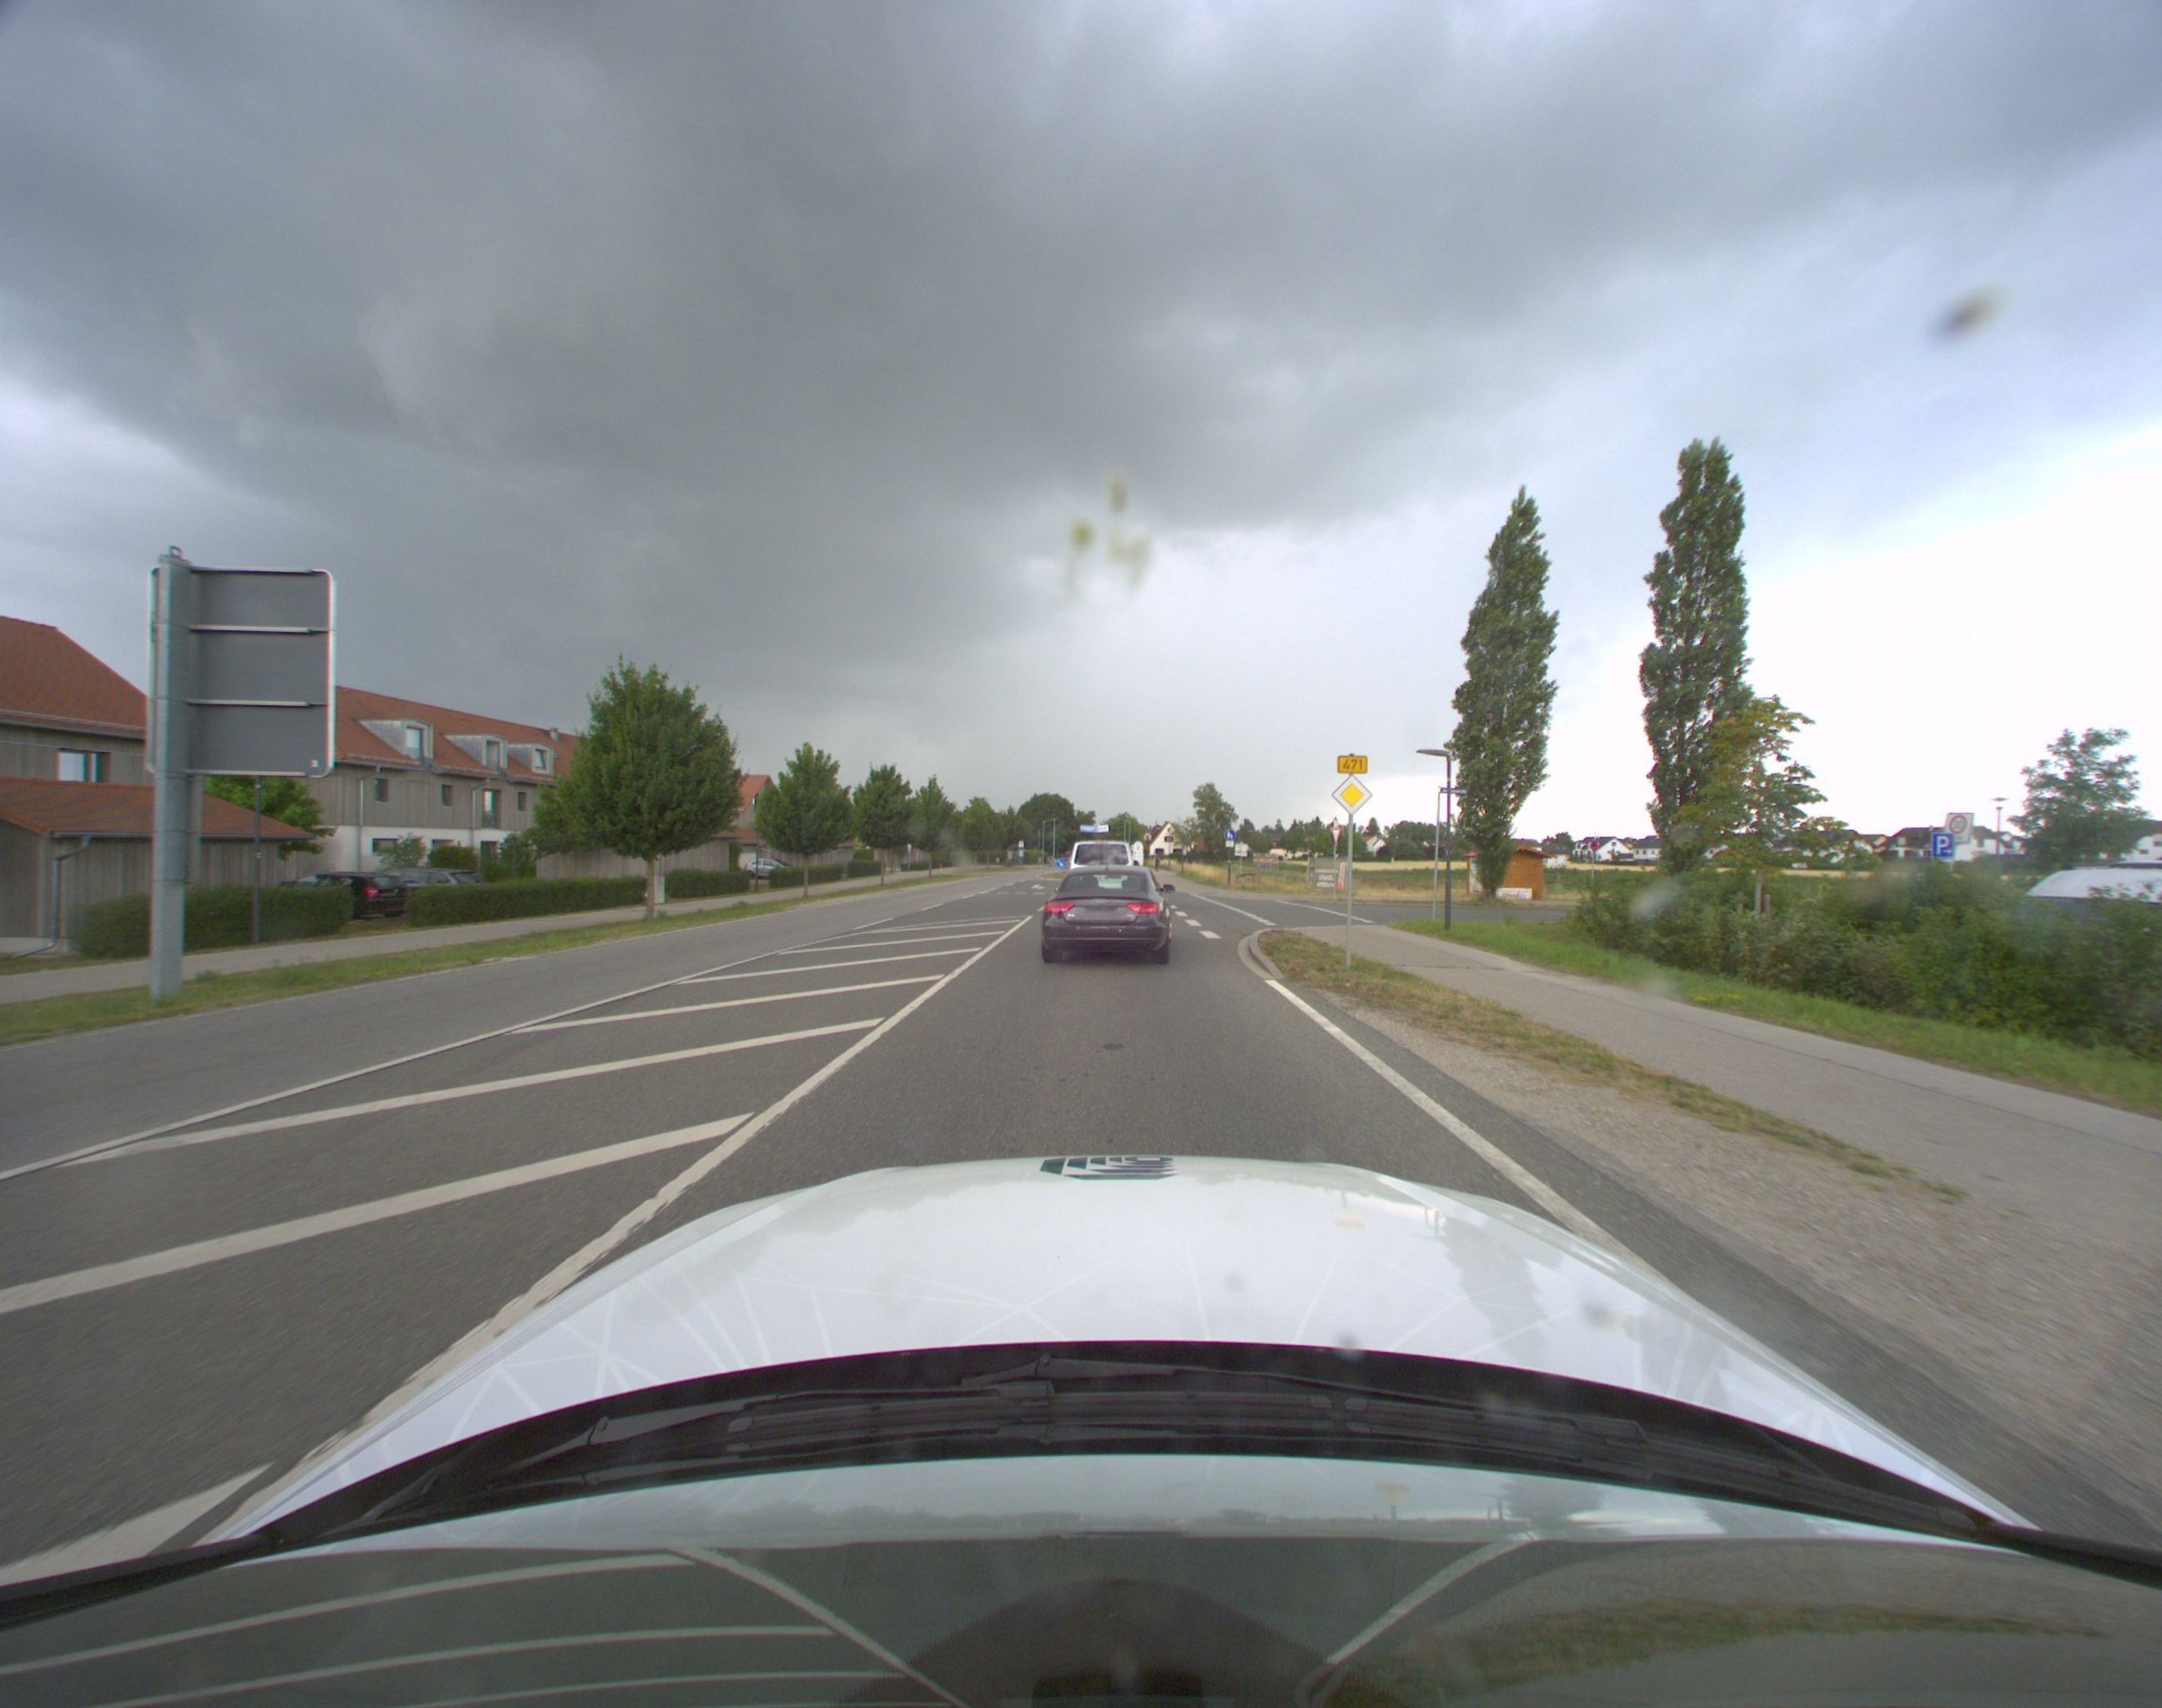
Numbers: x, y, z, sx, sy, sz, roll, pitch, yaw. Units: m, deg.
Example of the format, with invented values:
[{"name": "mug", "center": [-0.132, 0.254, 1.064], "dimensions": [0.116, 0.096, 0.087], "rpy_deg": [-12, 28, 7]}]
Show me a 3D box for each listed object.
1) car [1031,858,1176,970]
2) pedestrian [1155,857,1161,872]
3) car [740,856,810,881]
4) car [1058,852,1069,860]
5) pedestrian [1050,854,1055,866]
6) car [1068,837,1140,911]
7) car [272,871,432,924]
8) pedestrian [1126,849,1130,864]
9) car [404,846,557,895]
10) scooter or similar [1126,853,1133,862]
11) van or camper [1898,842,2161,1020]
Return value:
[{"name": "car", "center": [0.538, 0.800, 12.805], "dimensions": [1.816, 1.388, 4.396], "rpy_deg": [-1, 0, 7]}, {"name": "pedestrian", "center": [8.013, 1.086, 84.847], "dimensions": [0.621, 1.525, 0.680], "rpy_deg": [-1, 0, 1]}, {"name": "car", "center": [-21.195, 0.988, 56.469], "dimensions": [3.970, 1.556, 2.002], "rpy_deg": [2, 0, 3]}, {"name": "car", "center": [-2.981, 0.323, 140.666], "dimensions": [1.647, 1.429, 3.603], "rpy_deg": [-1, 0, 1]}, {"name": "pedestrian", "center": [-3.787, 0.772, 107.736], "dimensions": [0.621, 1.525, 0.680], "rpy_deg": [-1, 0, 1]}, {"name": "car", "center": [0.621, 0.519, 23.437], "dimensions": [1.819, 1.913, 4.000], "rpy_deg": [2, 0, 0]}, {"name": "car", "center": [-22.468, 1.321, 25.178], "dimensions": [3.501, 1.489, 1.564], "rpy_deg": [-1, 0, 1]}, {"name": "pedestrian", "center": [5.649, 0.281, 98.191], "dimensions": [0.483, 1.732, 0.642], "rpy_deg": [-1, 0, 1]}, {"name": "car", "center": [-21.315, 0.555, 29.034], "dimensions": [3.970, 1.618, 2.002], "rpy_deg": [-1, 0, 3]}, {"name": "scooter or similar", "center": [5.946, 0.421, 99.243], "dimensions": [0.845, 1.103, 1.095], "rpy_deg": [-1, 0, 2]}, {"name": "van or camper", "center": [17.096, 1.053, 12.724], "dimensions": [6.447, 2.464, 2.281], "rpy_deg": [-1, 0, -1]}]
